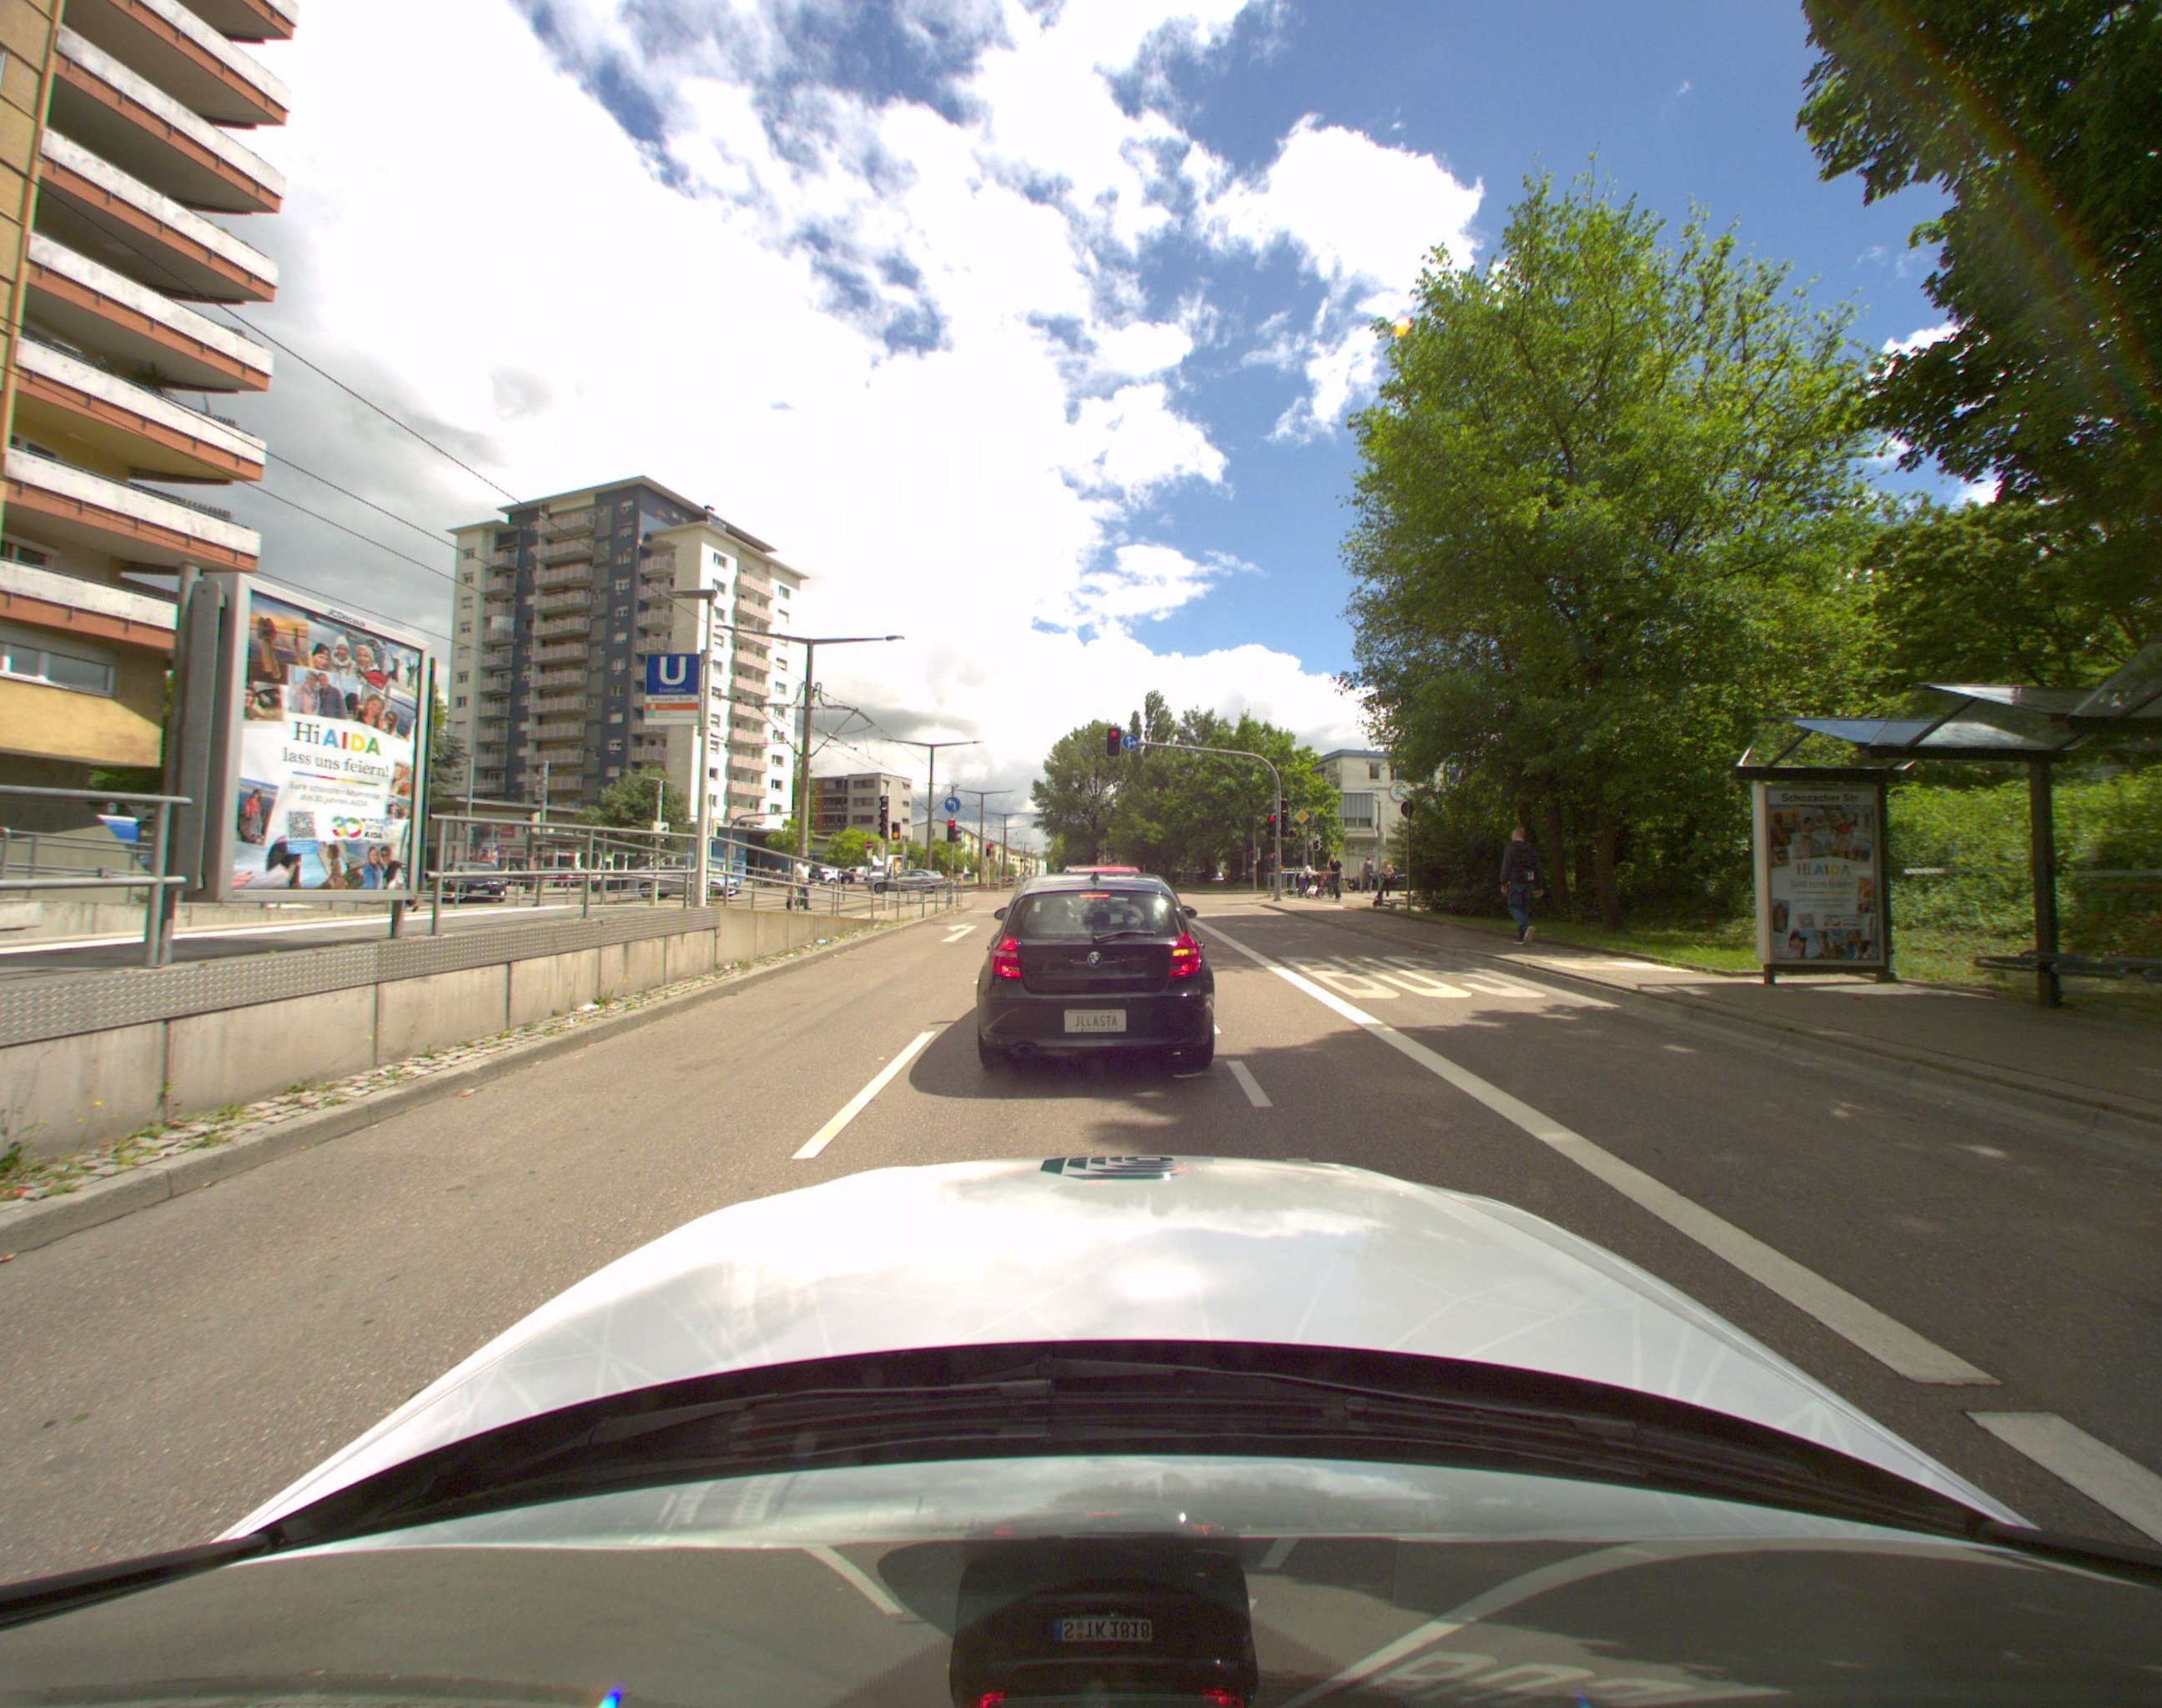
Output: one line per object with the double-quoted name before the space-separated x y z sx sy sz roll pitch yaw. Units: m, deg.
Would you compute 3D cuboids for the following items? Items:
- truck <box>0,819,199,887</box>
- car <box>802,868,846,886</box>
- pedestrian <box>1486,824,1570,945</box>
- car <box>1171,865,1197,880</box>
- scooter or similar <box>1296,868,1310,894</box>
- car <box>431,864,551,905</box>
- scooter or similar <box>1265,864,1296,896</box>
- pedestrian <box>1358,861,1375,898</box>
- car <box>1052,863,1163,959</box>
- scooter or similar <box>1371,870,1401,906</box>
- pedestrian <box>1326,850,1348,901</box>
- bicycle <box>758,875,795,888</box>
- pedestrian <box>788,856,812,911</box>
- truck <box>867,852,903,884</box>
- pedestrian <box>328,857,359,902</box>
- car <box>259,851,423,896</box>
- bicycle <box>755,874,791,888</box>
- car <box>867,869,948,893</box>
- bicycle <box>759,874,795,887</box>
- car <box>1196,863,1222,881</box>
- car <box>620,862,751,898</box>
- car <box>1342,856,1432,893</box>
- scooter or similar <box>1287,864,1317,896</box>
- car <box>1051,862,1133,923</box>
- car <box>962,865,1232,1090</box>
"truck" -34.575 -0.021 28.756 4.262 2.290 2.352 0 -1 2
"car" -24.987 2.251 79.117 3.927 1.647 1.644 0 -1 -22
"pedestrian" 7.169 0.475 13.109 0.792 1.876 1.014 0 -1 1
"car" 11.424 2.078 90.566 1.862 1.662 3.987 0 -1 -9
"scooter or similar" 9.481 1.156 34.803 0.543 1.064 1.267 0 -1 16
"car" -21.787 1.085 30.275 1.573 1.405 3.866 -1 -1 2
"scooter or similar" 7.779 1.019 31.756 1.105 1.235 0.540 0 -1 4
"pedestrian" 13.239 1.166 37.714 0.651 1.713 0.465 -1 -1 31
"car" 0.446 0.857 13.744 1.632 1.400 3.421 0 -1 2
"scooter or similar" 10.624 1.188 28.386 0.888 1.230 0.454 0 -1 -5
"pedestrian" 9.659 0.807 30.724 0.638 1.876 0.514 1 -1 -22
"bicycle" -23.599 2.128 63.151 2.570 1.009 0.749 2 -3 -27
"pedestrian" -8.920 0.921 25.817 0.690 1.734 0.683 0 -1 -21
"truck" -20.421 1.452 85.275 2.275 3.118 7.312 0 -1 -2
"pedestrian" -23.957 0.826 26.457 0.494 1.440 0.551 -1 -1 12
"car" -32.173 0.829 35.550 5.157 1.893 1.998 0 -1 -3
"bicycle" -24.154 2.129 63.975 2.570 1.009 0.749 2 -3 -27
"car" -10.082 1.546 47.651 4.437 1.329 1.676 0 -1 -6
"bicycle" -24.277 2.139 65.079 2.570 1.009 0.749 2 -3 -27
"car" 13.580 1.897 86.513 1.724 1.871 3.990 0 -1 -7
"car" -17.478 1.118 36.176 4.784 1.522 1.996 0 -1 -6
"car" 18.050 1.188 48.152 4.530 2.014 1.995 -2 -1 -7
"scooter or similar" 8.905 1.023 32.834 1.144 1.272 0.556 0 -1 8
"car" 0.334 0.920 21.221 1.893 1.422 4.540 0 -1 2
"car" 0.155 0.802 6.843 1.694 1.400 3.421 0 -1 2
